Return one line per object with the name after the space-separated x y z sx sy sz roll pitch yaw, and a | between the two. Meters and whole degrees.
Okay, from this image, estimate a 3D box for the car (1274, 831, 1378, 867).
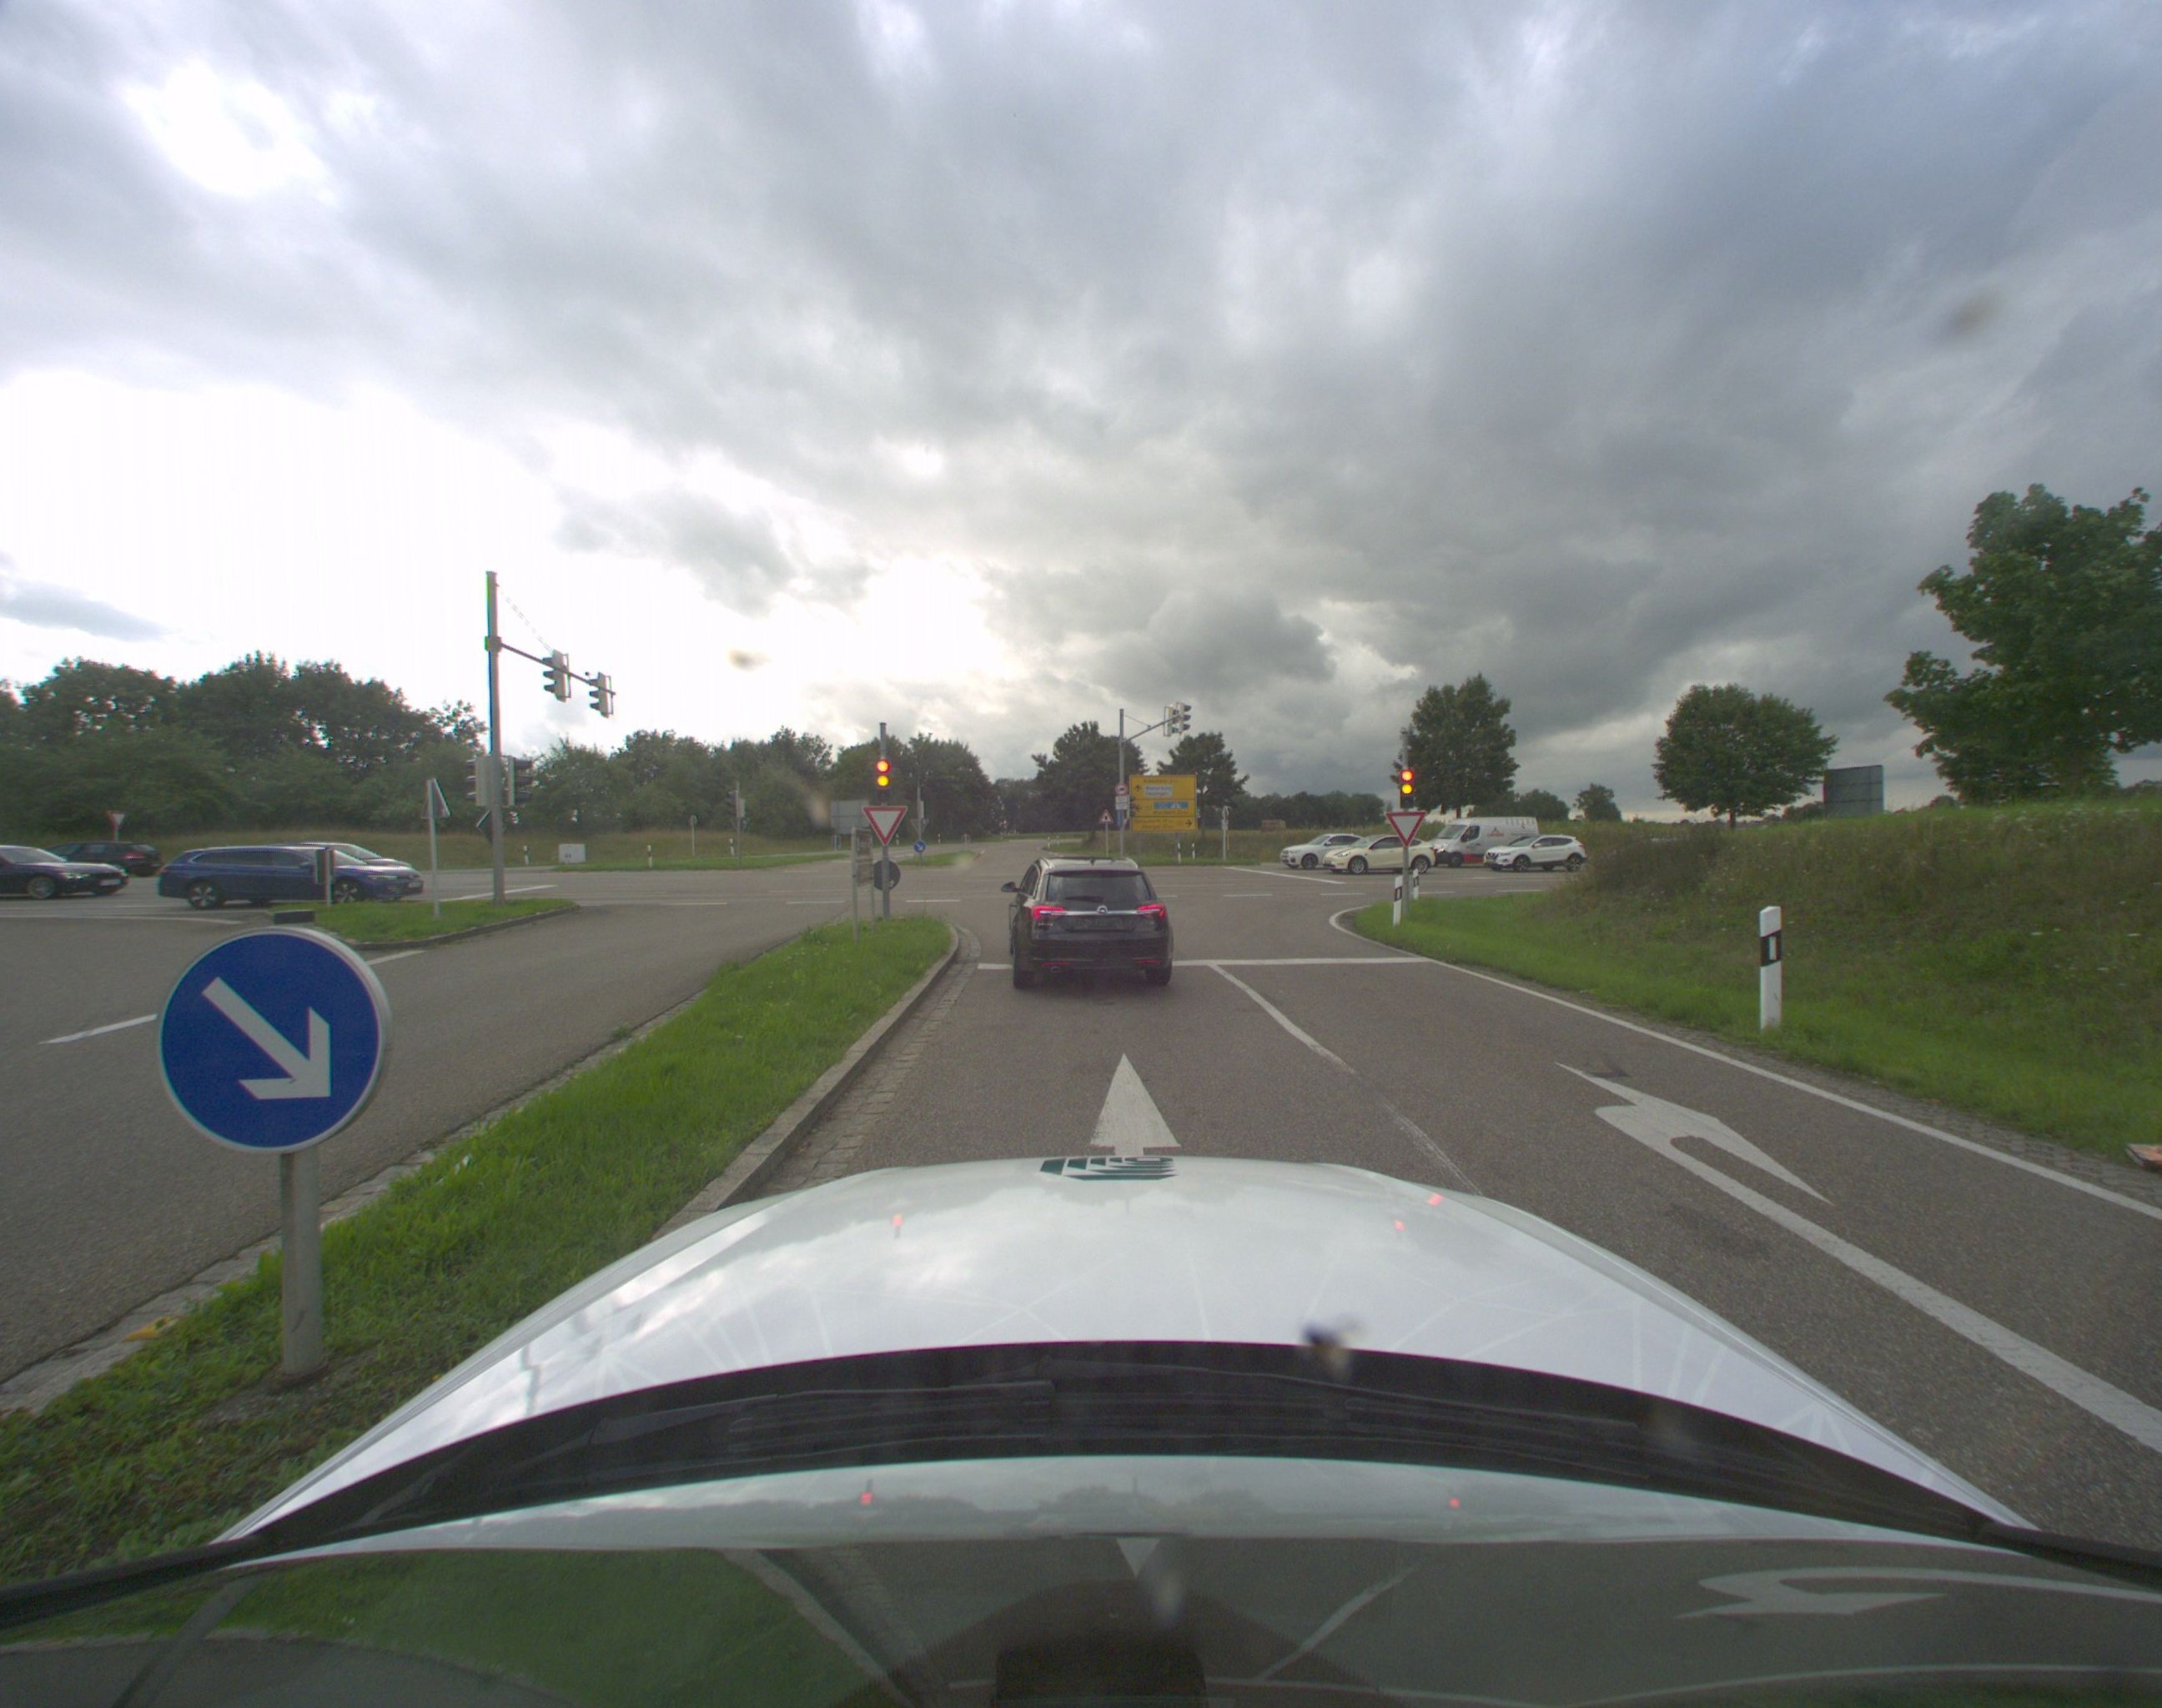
11.411 -0.250 38.060 4.262 1.629 1.993 -1 0 -11 | car

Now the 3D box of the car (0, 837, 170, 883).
-38.739 0.201 31.663 4.011 1.689 1.832 -1 0 -29 | car

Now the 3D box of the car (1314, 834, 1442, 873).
12.453 -0.038 34.280 4.734 1.564 1.993 -1 0 -11 | car

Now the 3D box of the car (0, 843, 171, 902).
-28.743 0.478 22.220 4.869 1.483 2.047 0 3 -12 | car

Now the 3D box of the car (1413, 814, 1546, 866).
19.498 -0.681 39.955 5.494 2.441 2.390 0 0 -10 | car

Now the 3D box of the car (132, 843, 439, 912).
-19.554 0.512 20.325 5.115 1.534 2.043 -1 2 -13 | car

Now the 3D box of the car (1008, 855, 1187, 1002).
-0.012 0.755 10.485 1.805 1.450 4.264 0 0 -6 | car

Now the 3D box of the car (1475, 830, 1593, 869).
19.933 -0.208 35.925 4.309 1.629 1.993 -1 0 -10 | car
